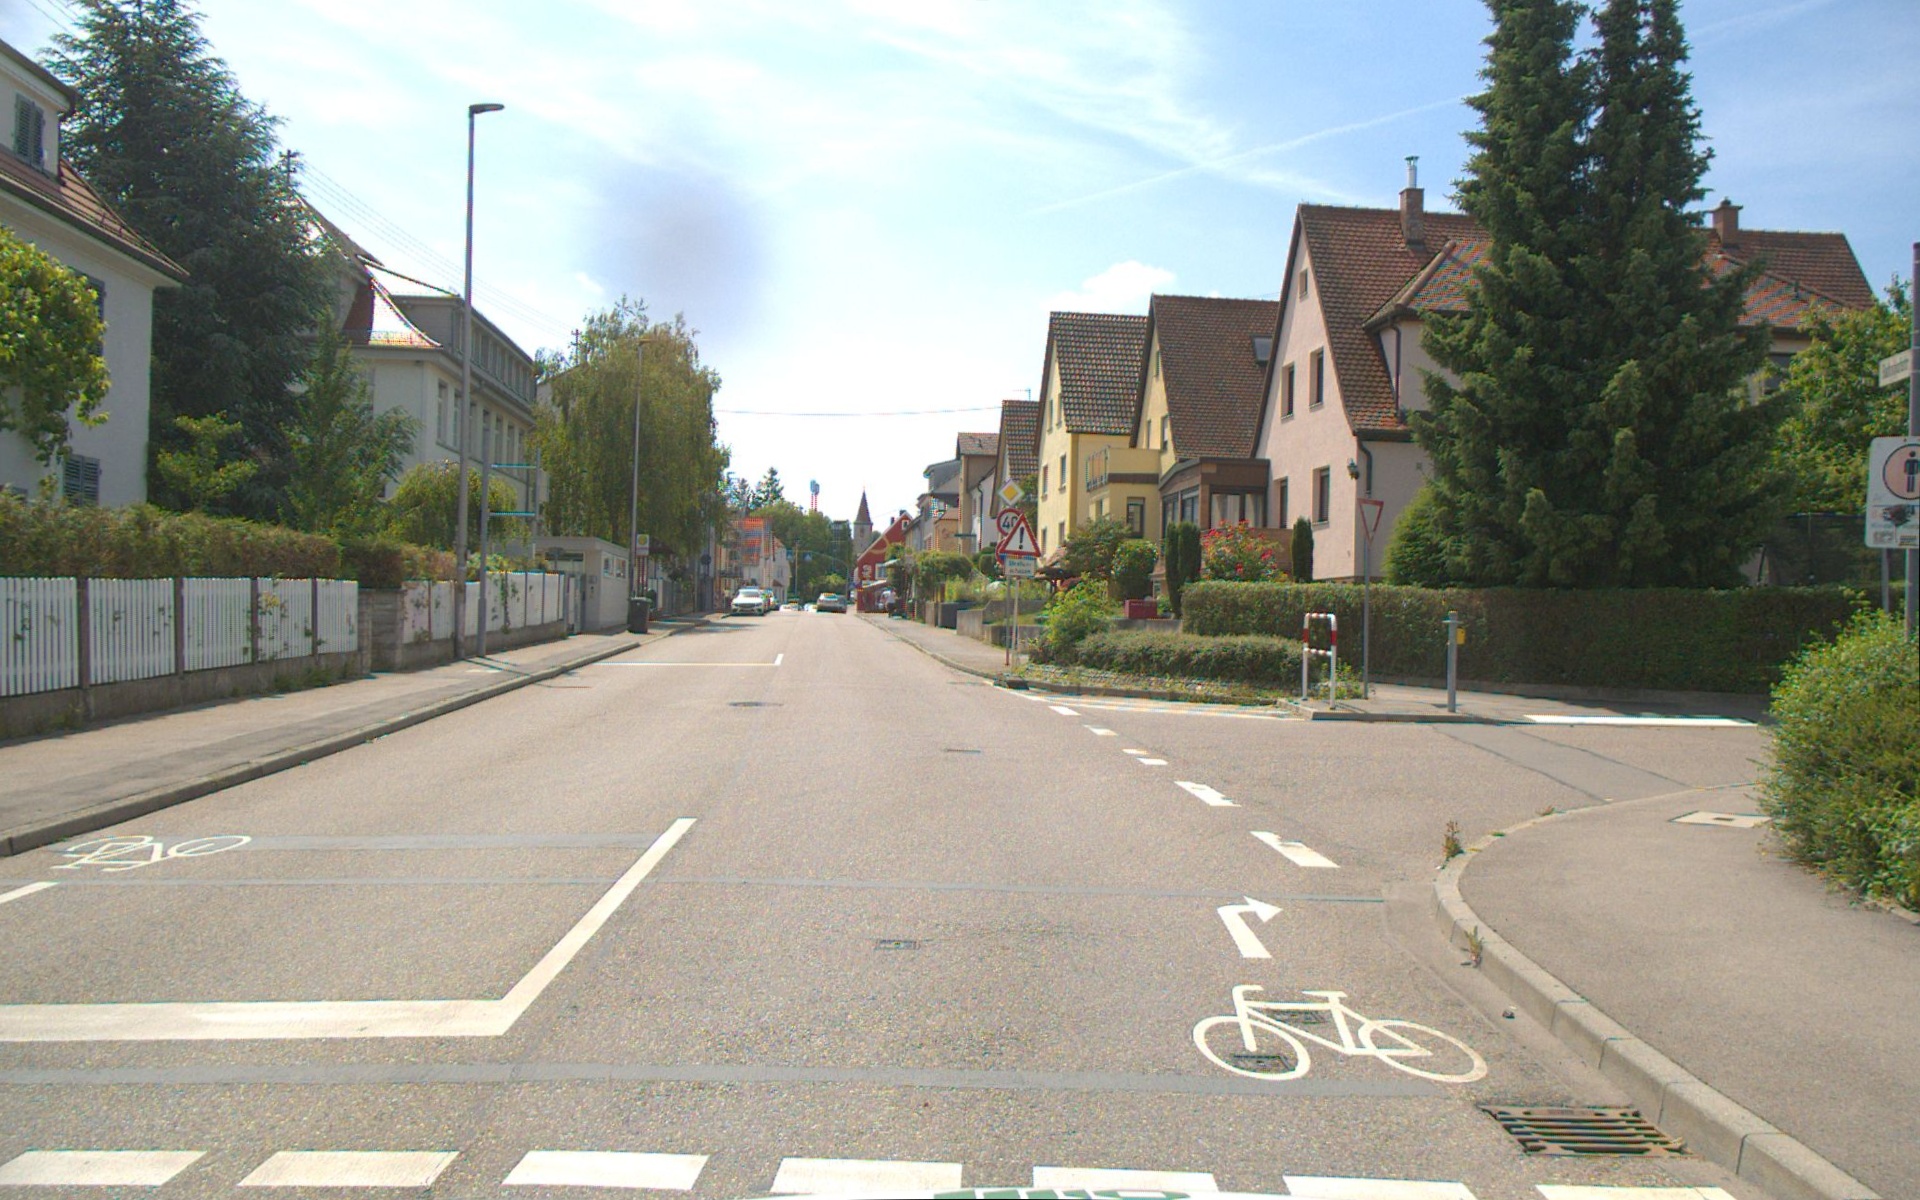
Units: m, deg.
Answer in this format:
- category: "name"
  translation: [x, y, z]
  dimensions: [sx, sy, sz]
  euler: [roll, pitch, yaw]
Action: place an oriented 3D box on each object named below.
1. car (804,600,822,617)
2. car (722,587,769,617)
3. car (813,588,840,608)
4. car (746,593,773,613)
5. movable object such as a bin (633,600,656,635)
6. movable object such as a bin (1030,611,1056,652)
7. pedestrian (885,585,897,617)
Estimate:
- category: "car"
  translation: [-17.557, 1.004, 197.209]
  dimensions: [1.954, 2.049, 3.997]
  euler: [1, 0, -3]
- category: "car"
  translation: [-12.036, 0.085, 93.063]
  dimensions: [2.067, 1.588, 4.313]
  euler: [1, 0, -1]
- category: "car"
  translation: [-10.858, -0.171, 134.214]
  dimensions: [1.956, 1.588, 4.306]
  euler: [1, 0, -8]
- category: "car"
  translation: [-15.631, 0.224, 128.900]
  dimensions: [1.955, 1.588, 4.308]
  euler: [0, 0, -6]
- category: "movable object such as a bin"
  translation: [-9.838, 0.545, 51.571]
  dimensions: [0.596, 1.064, 0.724]
  euler: [2, 1, -6]
- category: "movable object such as a bin"
  translation: [2.404, 0.911, 47.876]
  dimensions: [0.572, 1.097, 0.733]
  euler: [6, 0, -5]
- category: "pedestrian"
  translation: [-3.920, 0.054, 93.566]
  dimensions: [0.633, 1.760, 0.608]
  euler: [-1, 1, -5]
